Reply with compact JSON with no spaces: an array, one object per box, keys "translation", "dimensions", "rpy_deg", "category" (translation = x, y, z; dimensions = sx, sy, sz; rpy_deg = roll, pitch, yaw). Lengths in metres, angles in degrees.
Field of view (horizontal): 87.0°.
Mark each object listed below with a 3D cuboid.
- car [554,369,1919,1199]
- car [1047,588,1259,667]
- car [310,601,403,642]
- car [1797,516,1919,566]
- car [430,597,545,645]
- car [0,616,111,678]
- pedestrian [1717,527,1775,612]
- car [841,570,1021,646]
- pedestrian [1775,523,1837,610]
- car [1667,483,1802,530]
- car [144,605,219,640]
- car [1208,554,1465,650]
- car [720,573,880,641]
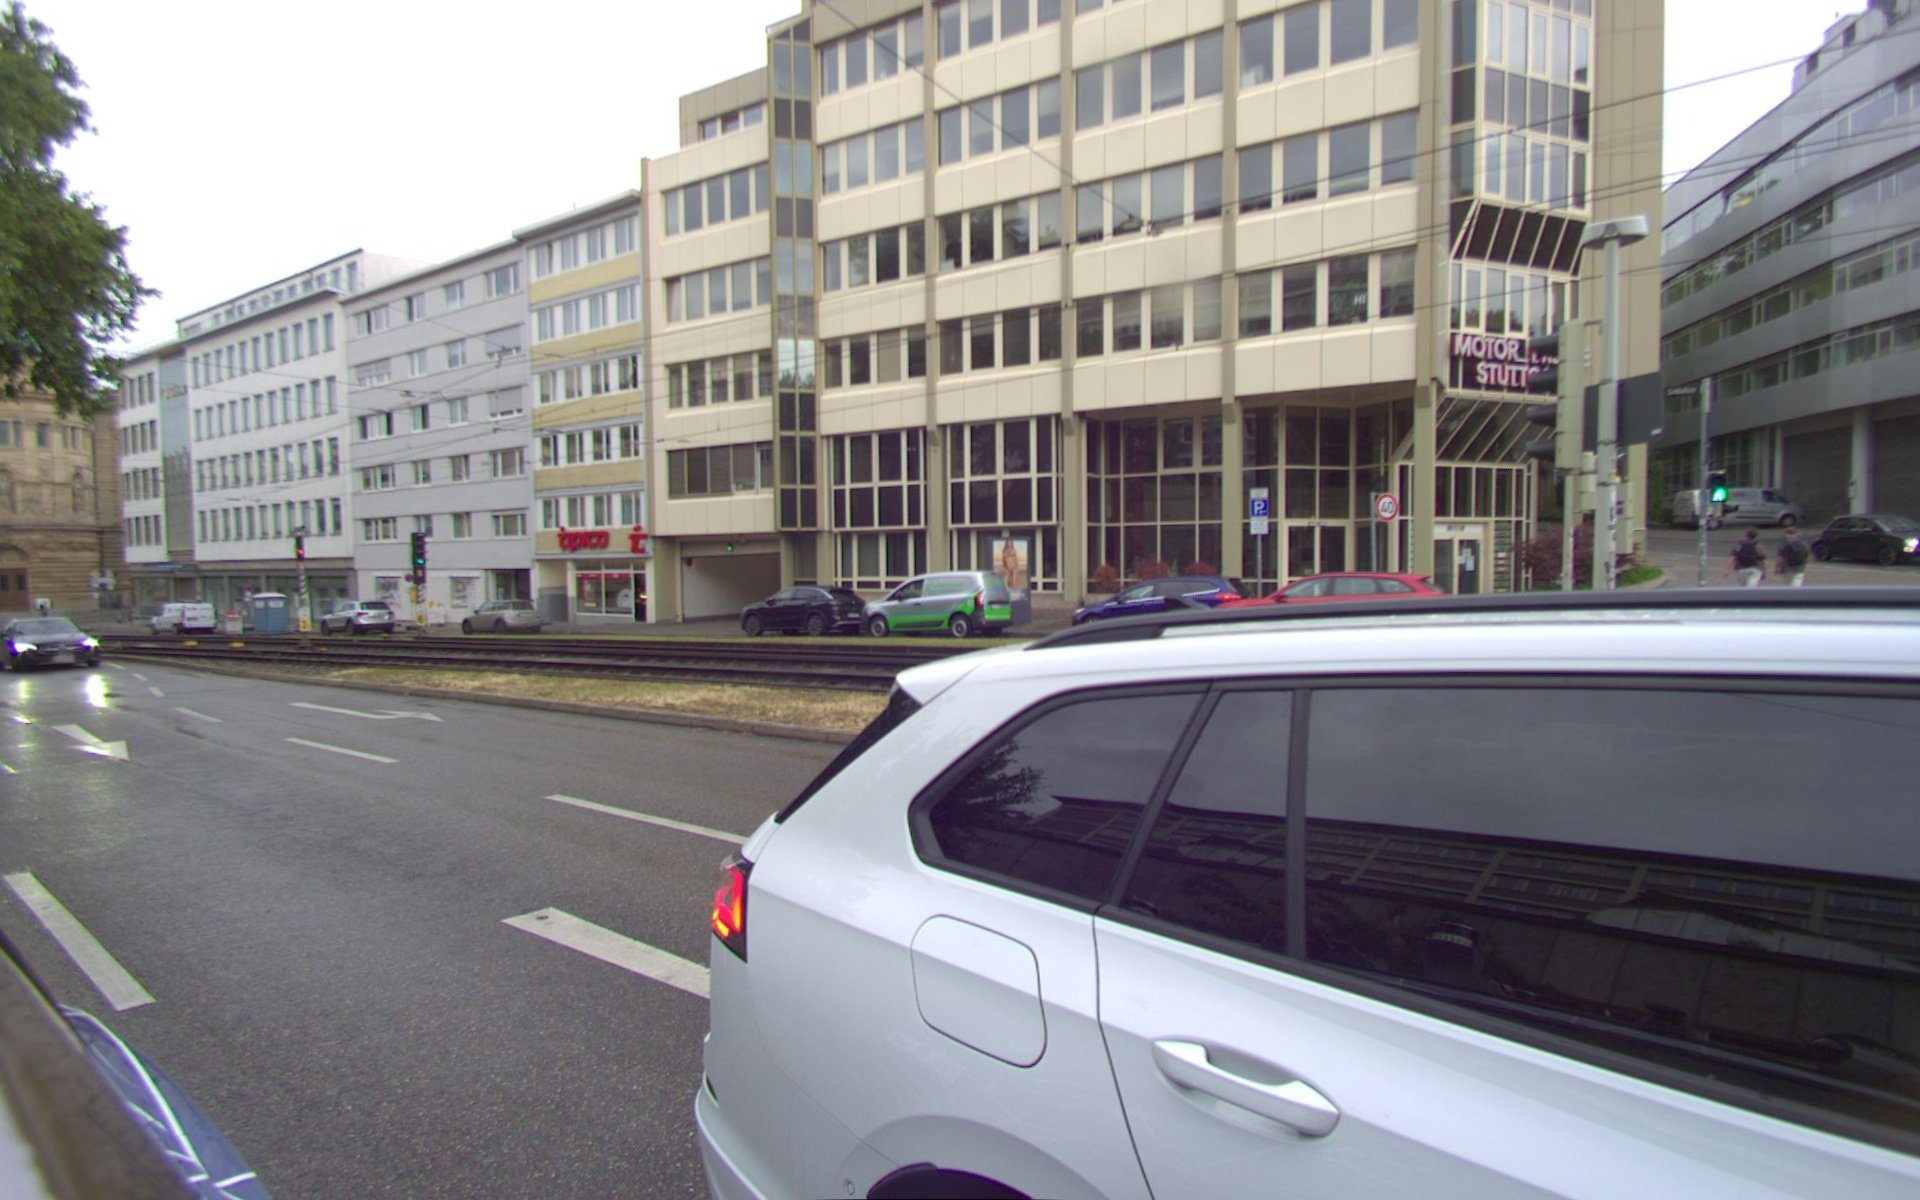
[{"translation":[1.339,0.604,1.282],"dimensions":[4.251,1.588,1.662],"rpy_deg":[-1,1,41],"category":"car"},{"translation":[4.547,0.589,24.078],"dimensions":[4.536,1.593,1.978],"rpy_deg":[0,4,34],"category":"car"},{"translation":[-28.339,1.032,47.448],"dimensions":[4.686,1.686,1.977],"rpy_deg":[-2,3,36],"category":"car"},{"translation":[27.622,-1.785,30.208],"dimensions":[1.803,1.374,4.004],"rpy_deg":[-2,3,-3],"category":"car"},{"translation":[-19.073,0.804,40.792],"dimensions":[4.682,1.686,1.978],"rpy_deg":[0,4,34],"category":"car"},{"translation":[-25.543,1.275,28.210],"dimensions":[4.638,1.478,1.974],"rpy_deg":[-2,2,39],"category":"car"},{"translation":[16.927,-0.660,21.801],"dimensions":[0.804,1.800,0.637],"rpy_deg":[-1,3,18],"category":"pedestrian"},{"translation":[-0.843,0.189,28.009],"dimensions":[4.682,1.863,1.978],"rpy_deg":[0,4,34],"category":"car"},{"translation":[17.950,-0.711,21.498],"dimensions":[0.804,1.800,0.637],"rpy_deg":[-1,3,18],"category":"pedestrian"},{"translation":[37.341,-4.481,48.920],"dimensions":[4.779,2.028,1.996],"rpy_deg":[-2,3,8],"category":"car"},{"translation":[-46.757,1.309,60.762],"dimensions":[5.117,1.856,1.978],"rpy_deg":[0,4,34],"category":"car"},{"translation":[7.218,0.014,19.463],"dimensions":[4.398,1.652,1.968],"rpy_deg":[0,2,29],"category":"car"},{"translation":[-4.924,0.179,30.898],"dimensions":[4.682,1.863,1.978],"rpy_deg":[0,4,34],"category":"car"}]
